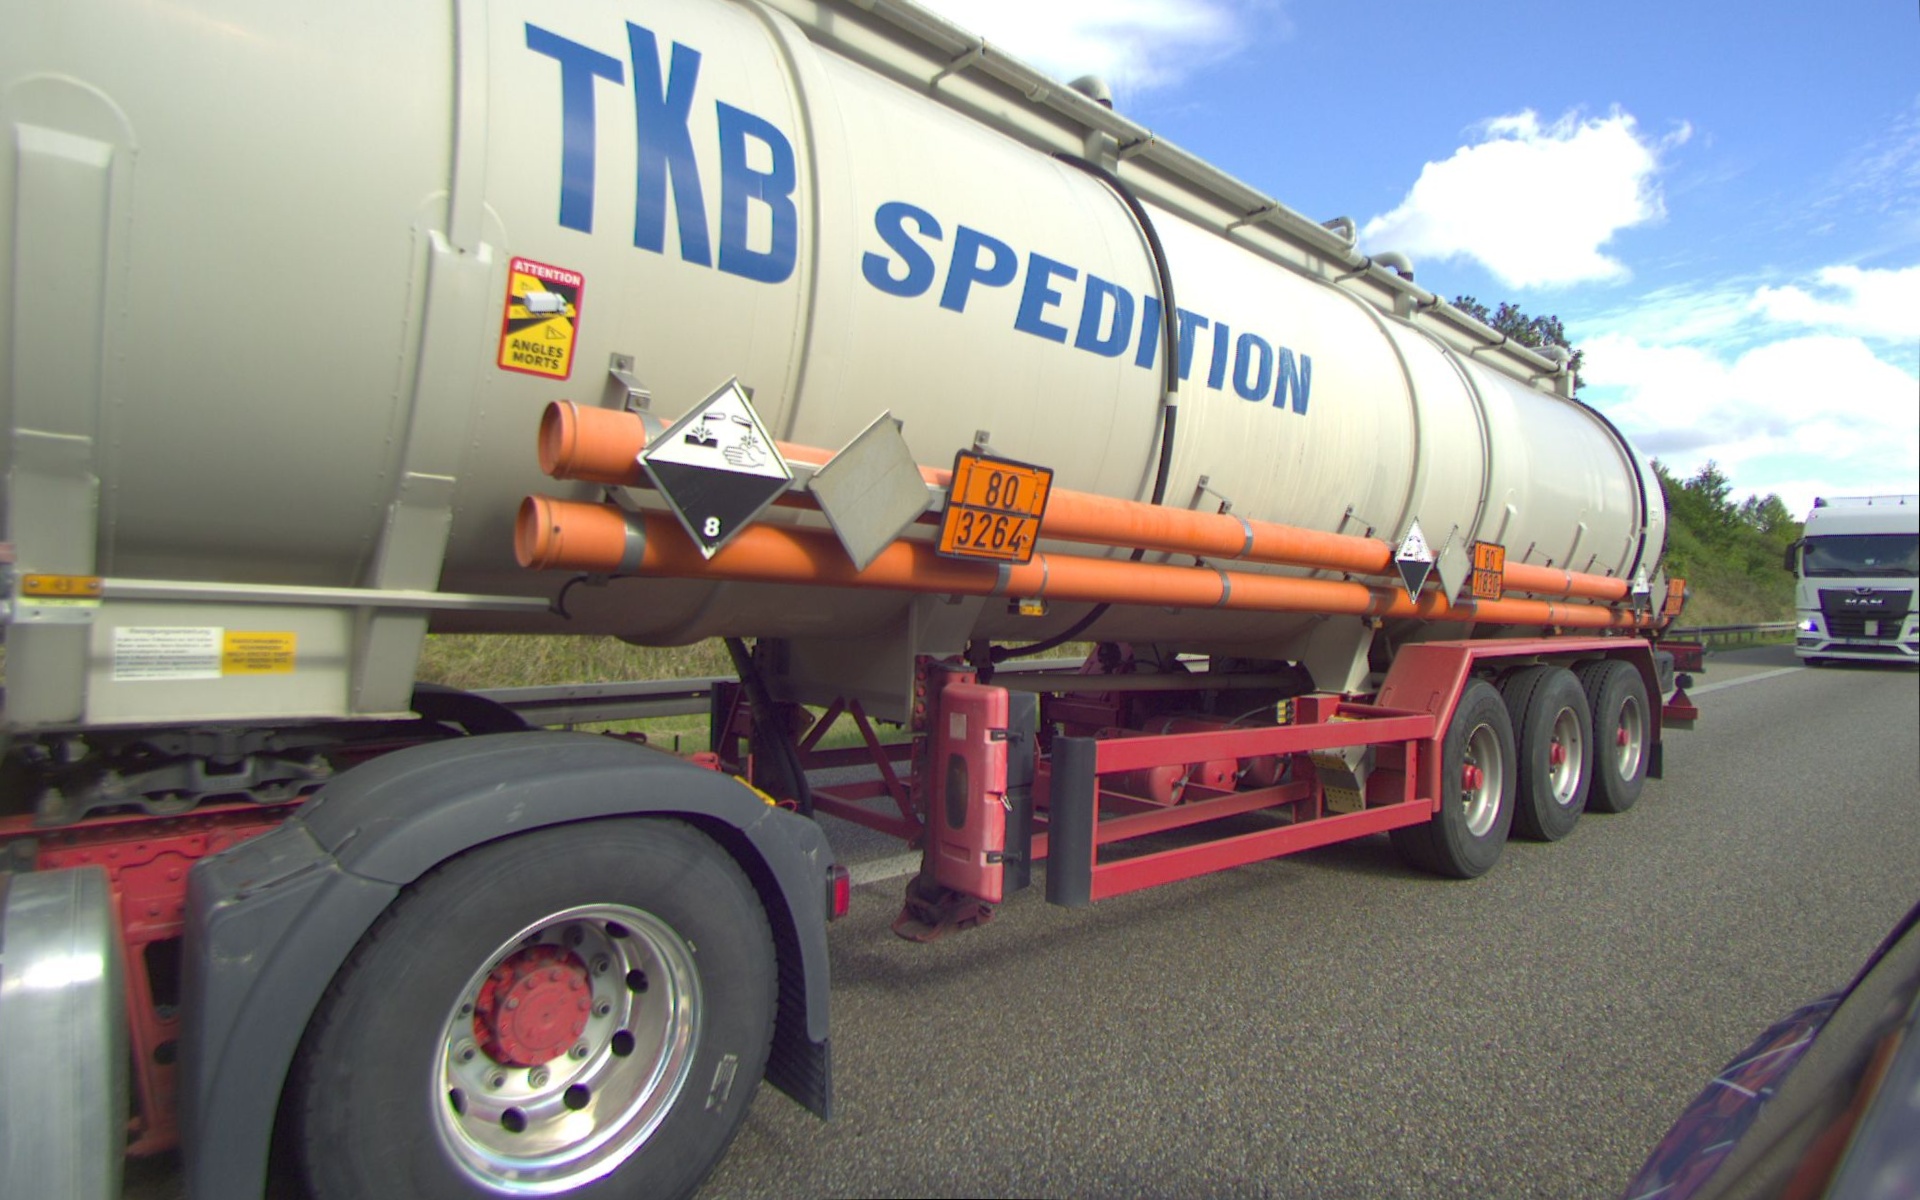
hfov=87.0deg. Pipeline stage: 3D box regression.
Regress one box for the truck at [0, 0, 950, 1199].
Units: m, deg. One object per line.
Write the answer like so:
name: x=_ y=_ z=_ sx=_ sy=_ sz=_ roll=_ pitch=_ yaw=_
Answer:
truck: x=-3.132 y=-0.678 z=1.749 sx=5.799 sy=4.094 sz=2.808 roll=0 pitch=1 yaw=-40

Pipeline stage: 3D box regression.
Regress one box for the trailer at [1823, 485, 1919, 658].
trailer: x=27.617 y=-0.696 z=28.609 sx=13.135 sy=4.122 sz=2.831 roll=0 pitch=1 yaw=-40

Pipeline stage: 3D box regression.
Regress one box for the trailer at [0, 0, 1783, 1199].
trailer: x=1.647 y=-0.716 z=5.810 sx=10.984 sy=4.077 sz=2.804 roll=0 pitch=1 yaw=-40

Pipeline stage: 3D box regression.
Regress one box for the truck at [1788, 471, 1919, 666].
truck: x=21.882 y=-0.683 z=23.732 sx=5.606 sy=4.122 sz=2.840 roll=0 pitch=1 yaw=-40
